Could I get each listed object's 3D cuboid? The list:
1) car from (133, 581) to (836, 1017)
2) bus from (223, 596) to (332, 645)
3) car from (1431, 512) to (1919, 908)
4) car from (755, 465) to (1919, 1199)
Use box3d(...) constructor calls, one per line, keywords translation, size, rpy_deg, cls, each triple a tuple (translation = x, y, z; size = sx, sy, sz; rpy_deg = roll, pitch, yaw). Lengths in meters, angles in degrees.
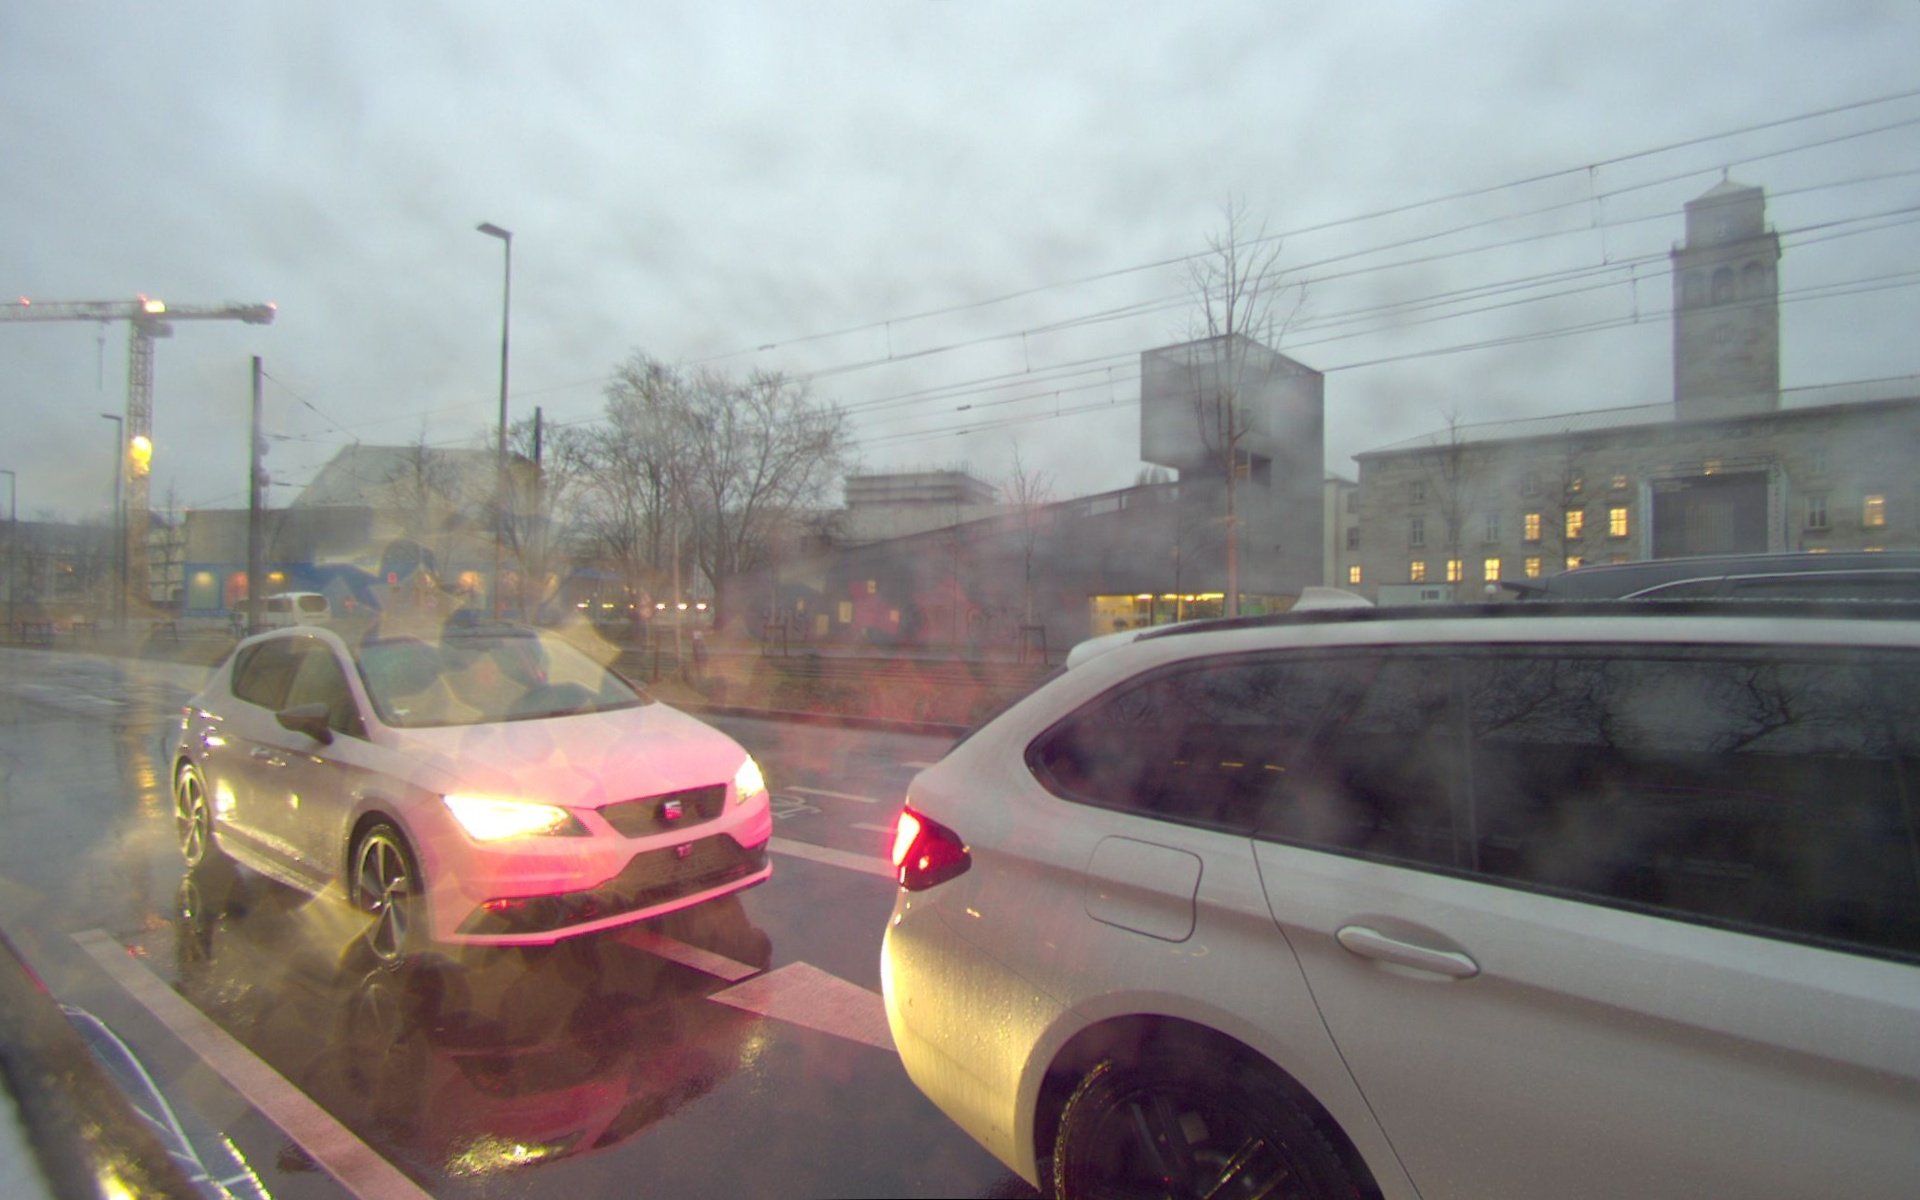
box3d(translation=(-2.753, 0.717, 5.439), size=(4.124, 1.486, 1.757), rpy_deg=(-1, -2, 38), cls="car")
box3d(translation=(-53.328, 1.579, 78.889), size=(12.277, 3.605, 2.783), rpy_deg=(-1, -2, 35), cls="bus")
box3d(translation=(4.998, 0.499, 4.993), size=(4.605, 1.756, 1.686), rpy_deg=(-1, -2, 38), cls="car")
box3d(translation=(1.962, 0.621, 1.731), size=(4.919, 1.532, 1.890), rpy_deg=(-1, -2, 40), cls="car")
